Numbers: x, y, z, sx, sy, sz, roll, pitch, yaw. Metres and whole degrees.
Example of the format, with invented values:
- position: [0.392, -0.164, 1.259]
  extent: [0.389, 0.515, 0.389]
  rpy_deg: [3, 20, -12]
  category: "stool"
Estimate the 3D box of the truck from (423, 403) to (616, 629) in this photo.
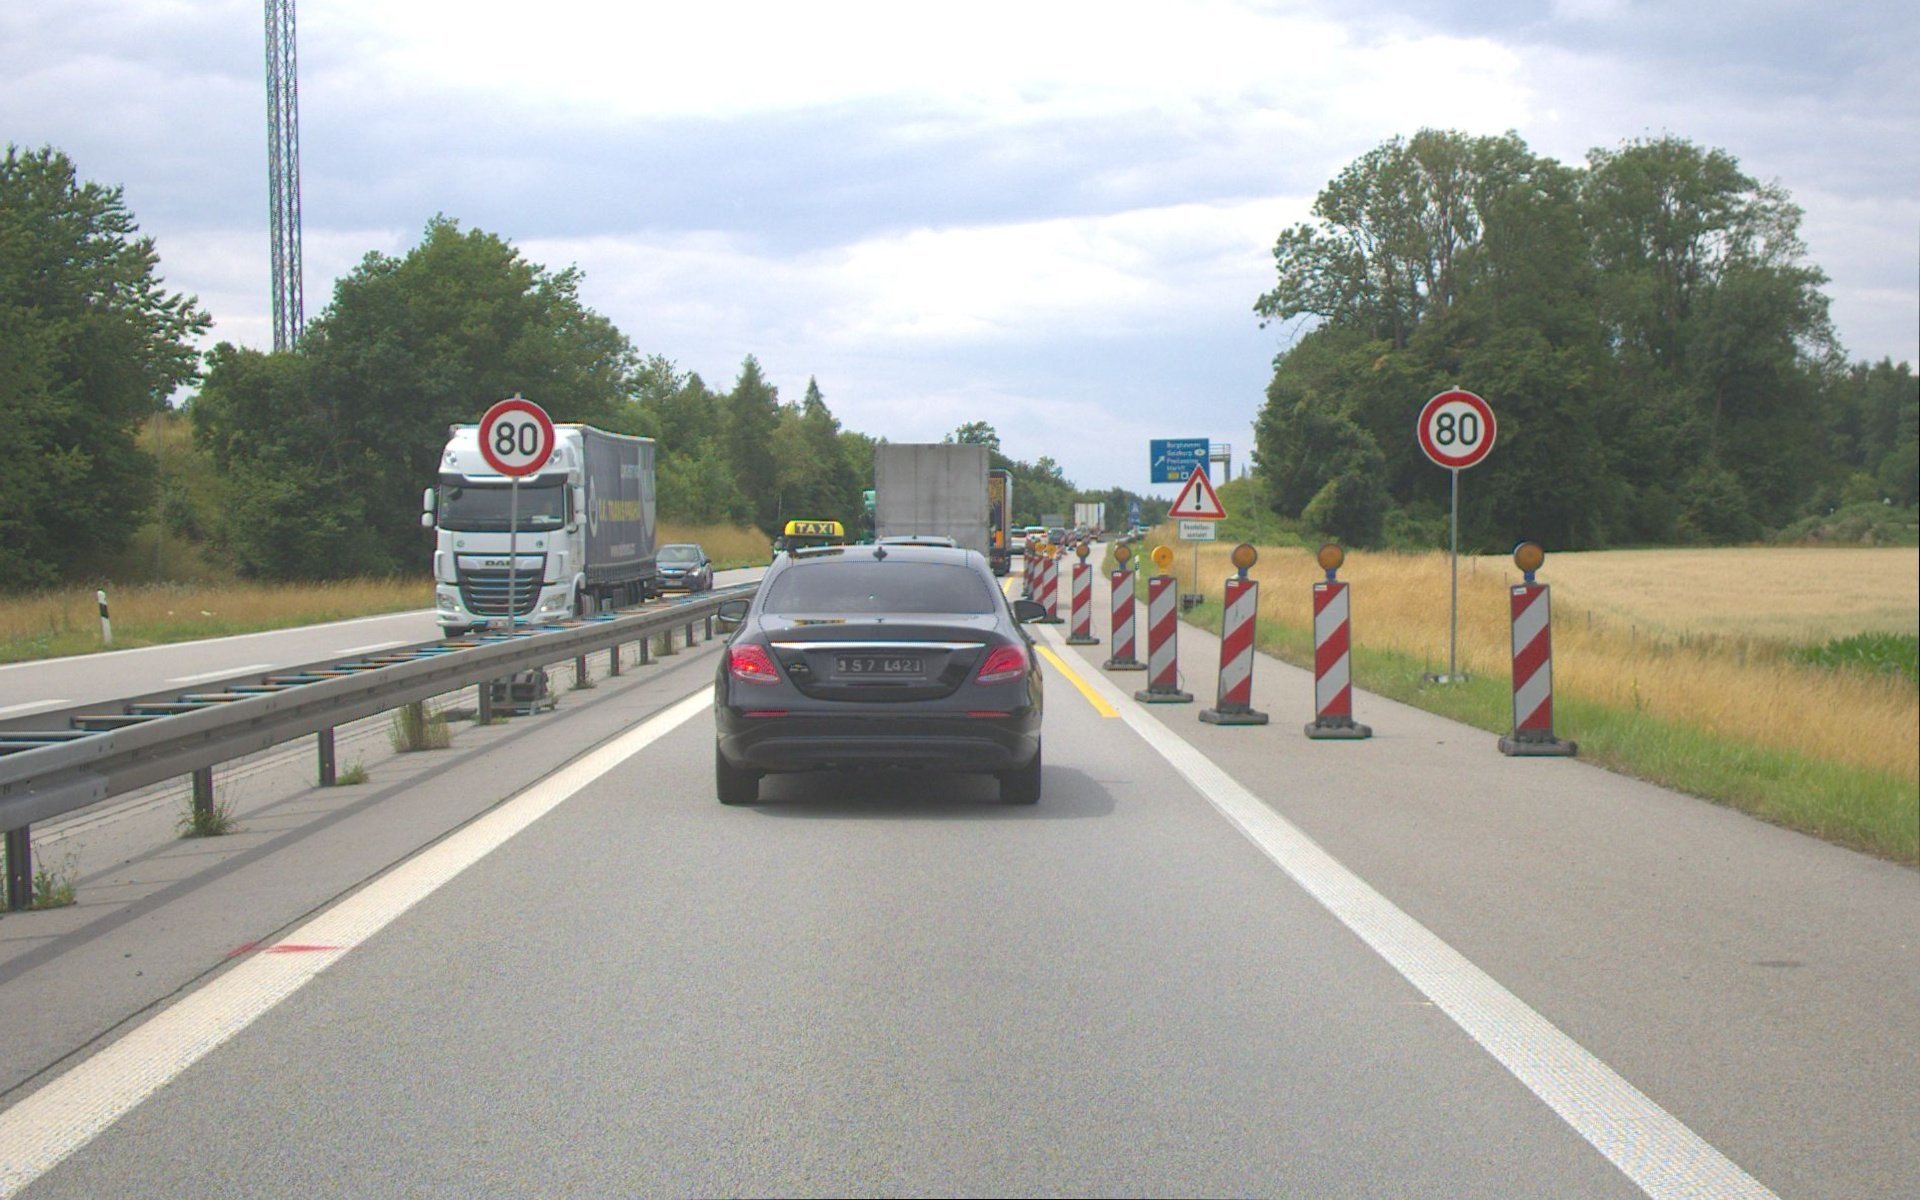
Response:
- position: [-8.470, -1.568, 66.839]
  extent: [2.798, 4.128, 7.229]
  rpy_deg: [1, 0, 0]
  category: "truck"

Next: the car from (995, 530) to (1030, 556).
- position: [2.925, -3.184, 192.323]
  extent: [1.649, 1.391, 3.706]
  rpy_deg: [1, 0, -4]
  category: "car"

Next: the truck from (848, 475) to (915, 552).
- position: [-4.387, -4.821, 193.526]
  extent: [3.123, 4.198, 6.780]
  rpy_deg: [1, 0, 4]
  category: "truck"

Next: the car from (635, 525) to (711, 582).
- position: [-8.734, -1.411, 104.747]
  extent: [1.993, 1.678, 4.234]
  rpy_deg: [1, 0, -1]
  category: "car"

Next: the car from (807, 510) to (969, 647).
- position: [-1.146, -0.341, 52.841]
  extent: [1.993, 2.007, 4.001]
  rpy_deg: [1, 0, -8]
  category: "car"

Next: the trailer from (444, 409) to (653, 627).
- position: [-8.491, -1.627, 72.653]
  extent: [2.798, 4.158, 13.564]
  rpy_deg: [1, 0, 0]
  category: "trailer"

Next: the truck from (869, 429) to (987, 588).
- position: [-0.748, -2.063, 78.913]
  extent: [2.587, 3.512, 4.813]
  rpy_deg: [1, 0, -1]
  category: "truck"

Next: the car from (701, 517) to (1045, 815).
- position: [-0.508, 0.331, 20.156]
  extent: [1.795, 1.554, 4.000]
  rpy_deg: [1, 0, -1]
  category: "car"
